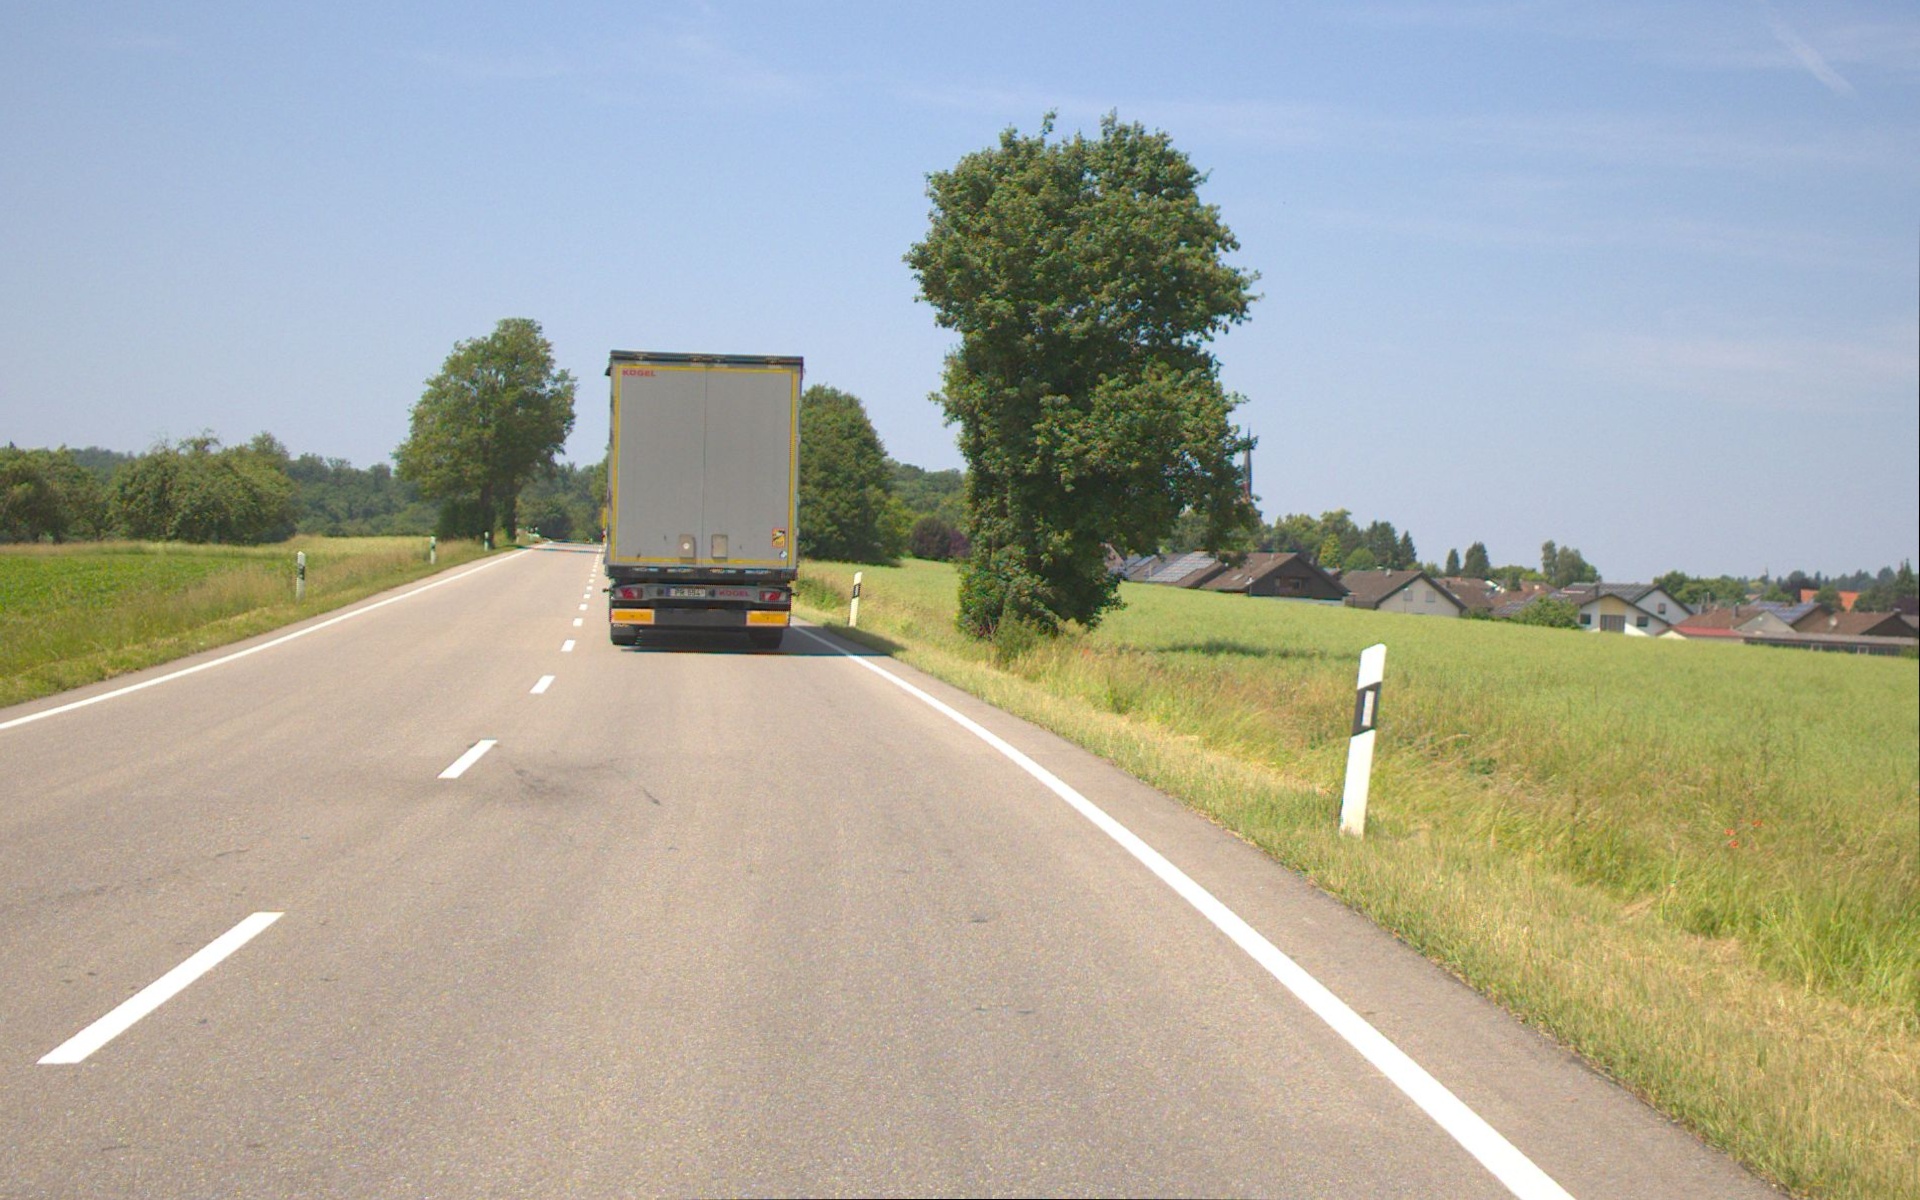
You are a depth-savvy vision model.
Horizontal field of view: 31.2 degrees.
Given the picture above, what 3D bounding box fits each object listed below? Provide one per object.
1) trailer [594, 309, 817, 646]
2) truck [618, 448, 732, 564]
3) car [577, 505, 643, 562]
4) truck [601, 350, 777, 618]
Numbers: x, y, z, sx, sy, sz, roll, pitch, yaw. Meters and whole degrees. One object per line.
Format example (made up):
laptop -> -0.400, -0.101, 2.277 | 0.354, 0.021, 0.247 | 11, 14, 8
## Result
trailer -> -3.985, -1.751, 51.870 | 2.866, 4.385, 13.496 | 1, 1, -6
truck -> -11.607, -3.776, 141.741 | 3.549, 4.377, 18.123 | 1, 1, -1
car -> -11.931, -2.261, 117.365 | 1.725, 1.866, 4.000 | 1, 1, 2
truck -> -4.697, -1.963, 59.042 | 2.859, 4.385, 5.072 | 0, 1, -6
